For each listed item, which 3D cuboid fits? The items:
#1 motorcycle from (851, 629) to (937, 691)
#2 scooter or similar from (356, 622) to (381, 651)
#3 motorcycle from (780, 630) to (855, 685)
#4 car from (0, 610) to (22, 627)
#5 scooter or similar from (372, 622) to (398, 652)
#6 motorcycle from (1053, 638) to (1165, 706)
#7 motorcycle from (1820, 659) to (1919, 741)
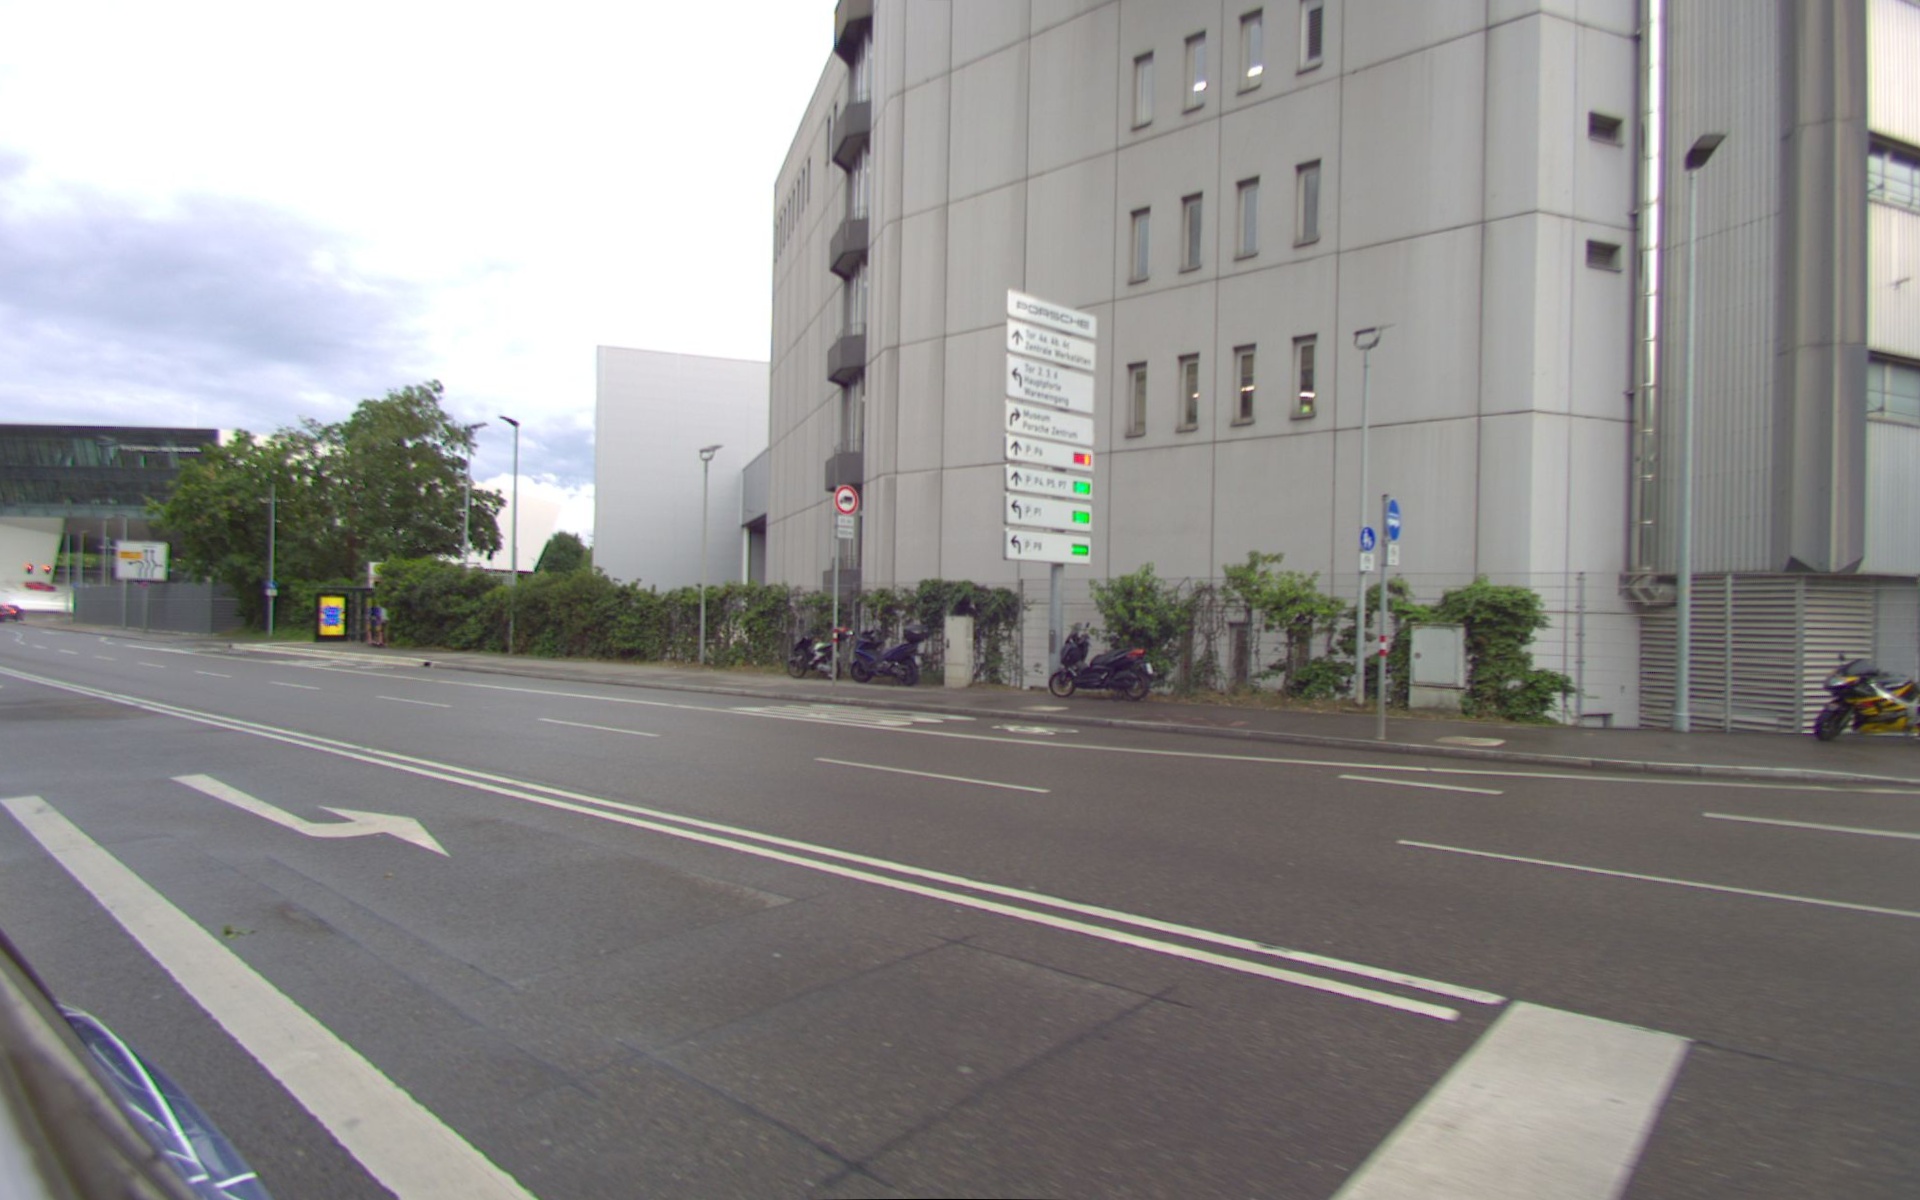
[{"bbox_3d":[-1.467,1.278,22.091,0.617,1.277,2.172,3,-3,-44],"label":"motorcycle"},{"bbox_3d":[-24.011,1.471,41.071,1.568,1.138,0.389,-1,-3,41],"label":"scooter or similar"},{"bbox_3d":[-3.387,1.344,23.974,1.967,1.224,0.618,-1,-3,41],"label":"motorcycle"},{"bbox_3d":[-92.892,1.788,98.634,4.484,1.602,1.752,-1,-3,42],"label":"car"},{"bbox_3d":[-22.722,1.458,39.984,1.568,1.138,0.389,-1,-3,41],"label":"scooter or similar"},{"bbox_3d":[2.732,1.299,18.664,2.037,1.171,0.562,-1,-3,39],"label":"motorcycle"},{"bbox_3d":[12.795,1.332,13.408,2.144,1.035,0.625,1,-2,6],"label":"motorcycle"}]
